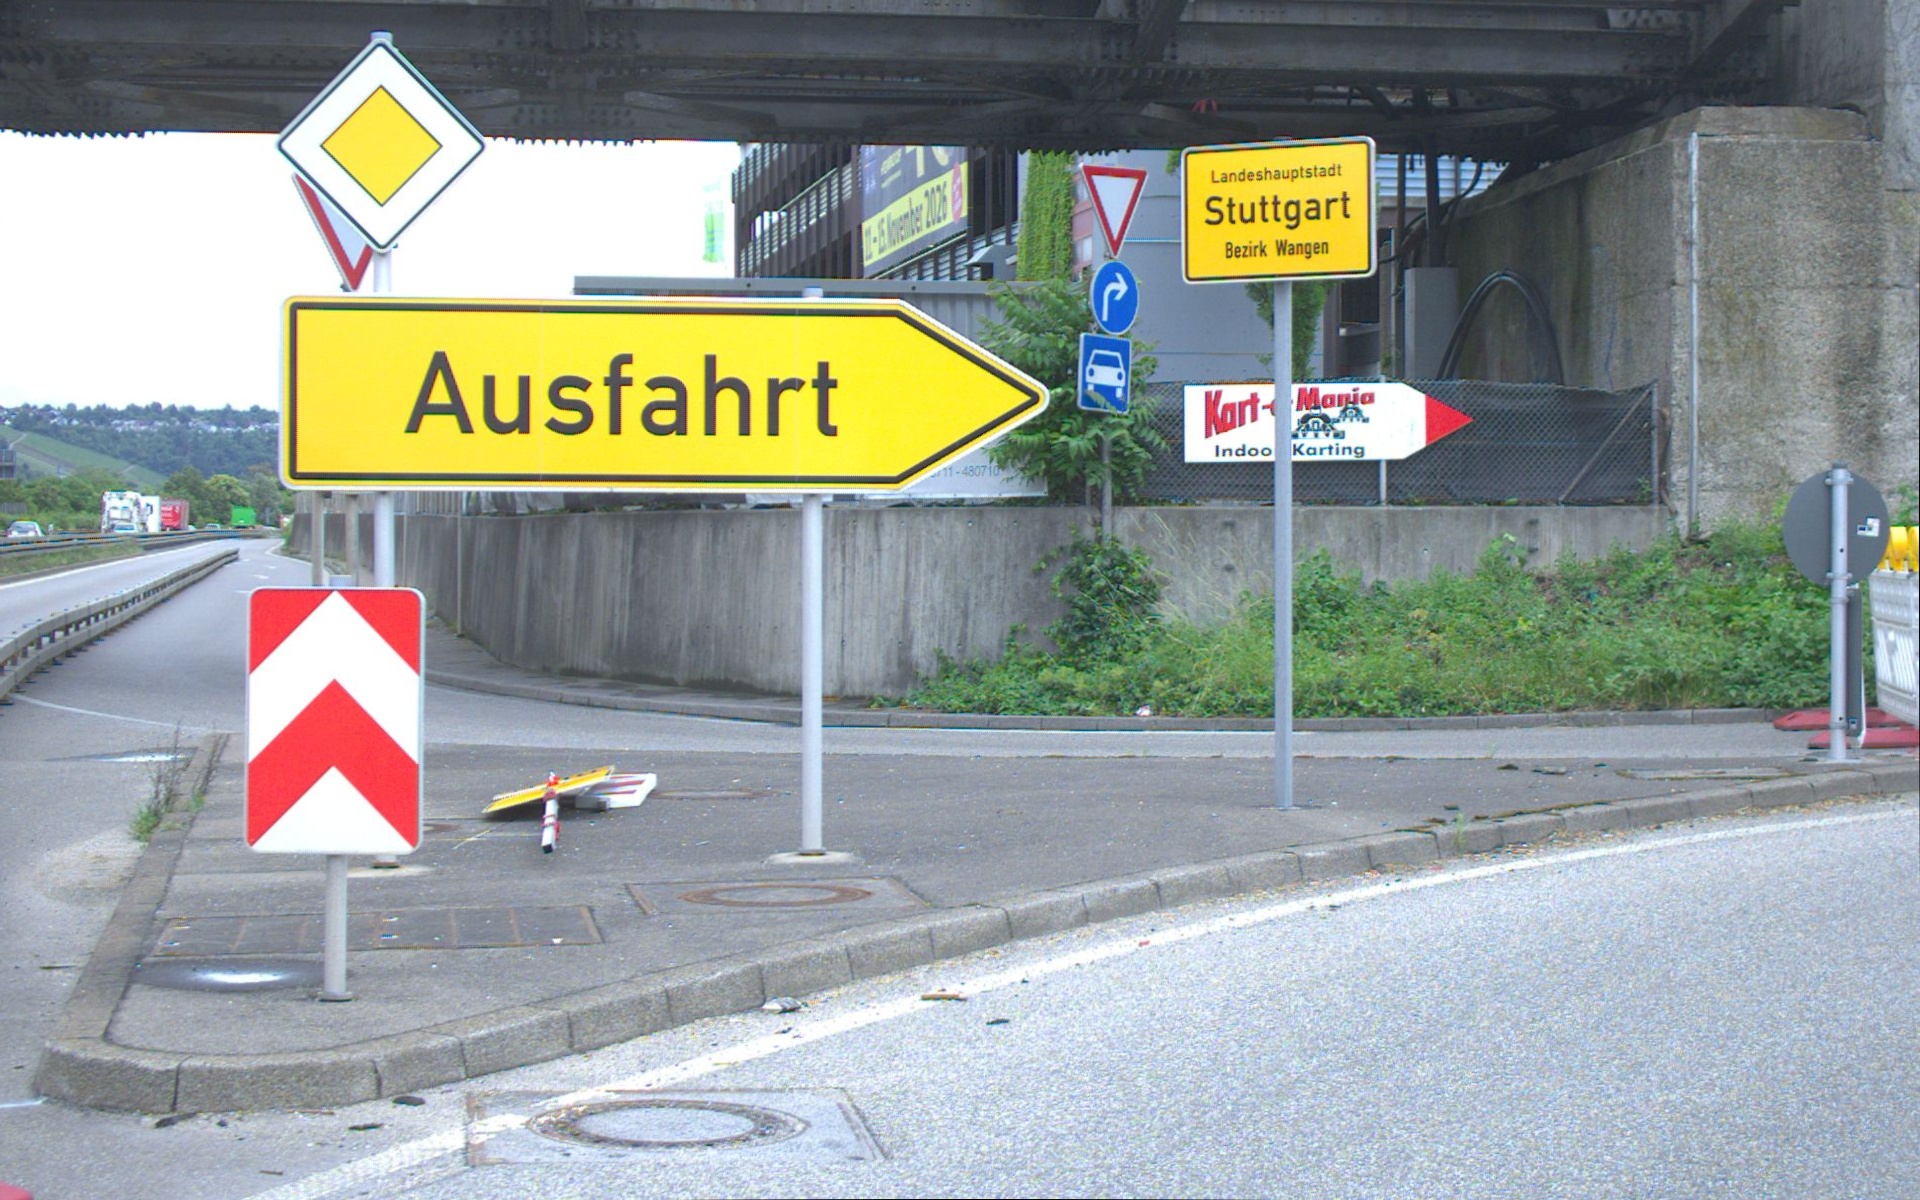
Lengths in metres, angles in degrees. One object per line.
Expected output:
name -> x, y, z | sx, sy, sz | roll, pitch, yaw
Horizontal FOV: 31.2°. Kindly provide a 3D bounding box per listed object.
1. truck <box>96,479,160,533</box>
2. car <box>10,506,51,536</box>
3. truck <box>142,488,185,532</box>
truck -> -56.837, -6.416, 235.120 | 3.719, 3.633, 7.730 | 1, 1, -10
car -> -49.914, -4.255, 184.659 | 1.779, 1.590, 3.751 | 1, 1, -10
truck -> -58.622, -6.611, 253.111 | 2.680, 3.129, 6.134 | 1, 1, -10
